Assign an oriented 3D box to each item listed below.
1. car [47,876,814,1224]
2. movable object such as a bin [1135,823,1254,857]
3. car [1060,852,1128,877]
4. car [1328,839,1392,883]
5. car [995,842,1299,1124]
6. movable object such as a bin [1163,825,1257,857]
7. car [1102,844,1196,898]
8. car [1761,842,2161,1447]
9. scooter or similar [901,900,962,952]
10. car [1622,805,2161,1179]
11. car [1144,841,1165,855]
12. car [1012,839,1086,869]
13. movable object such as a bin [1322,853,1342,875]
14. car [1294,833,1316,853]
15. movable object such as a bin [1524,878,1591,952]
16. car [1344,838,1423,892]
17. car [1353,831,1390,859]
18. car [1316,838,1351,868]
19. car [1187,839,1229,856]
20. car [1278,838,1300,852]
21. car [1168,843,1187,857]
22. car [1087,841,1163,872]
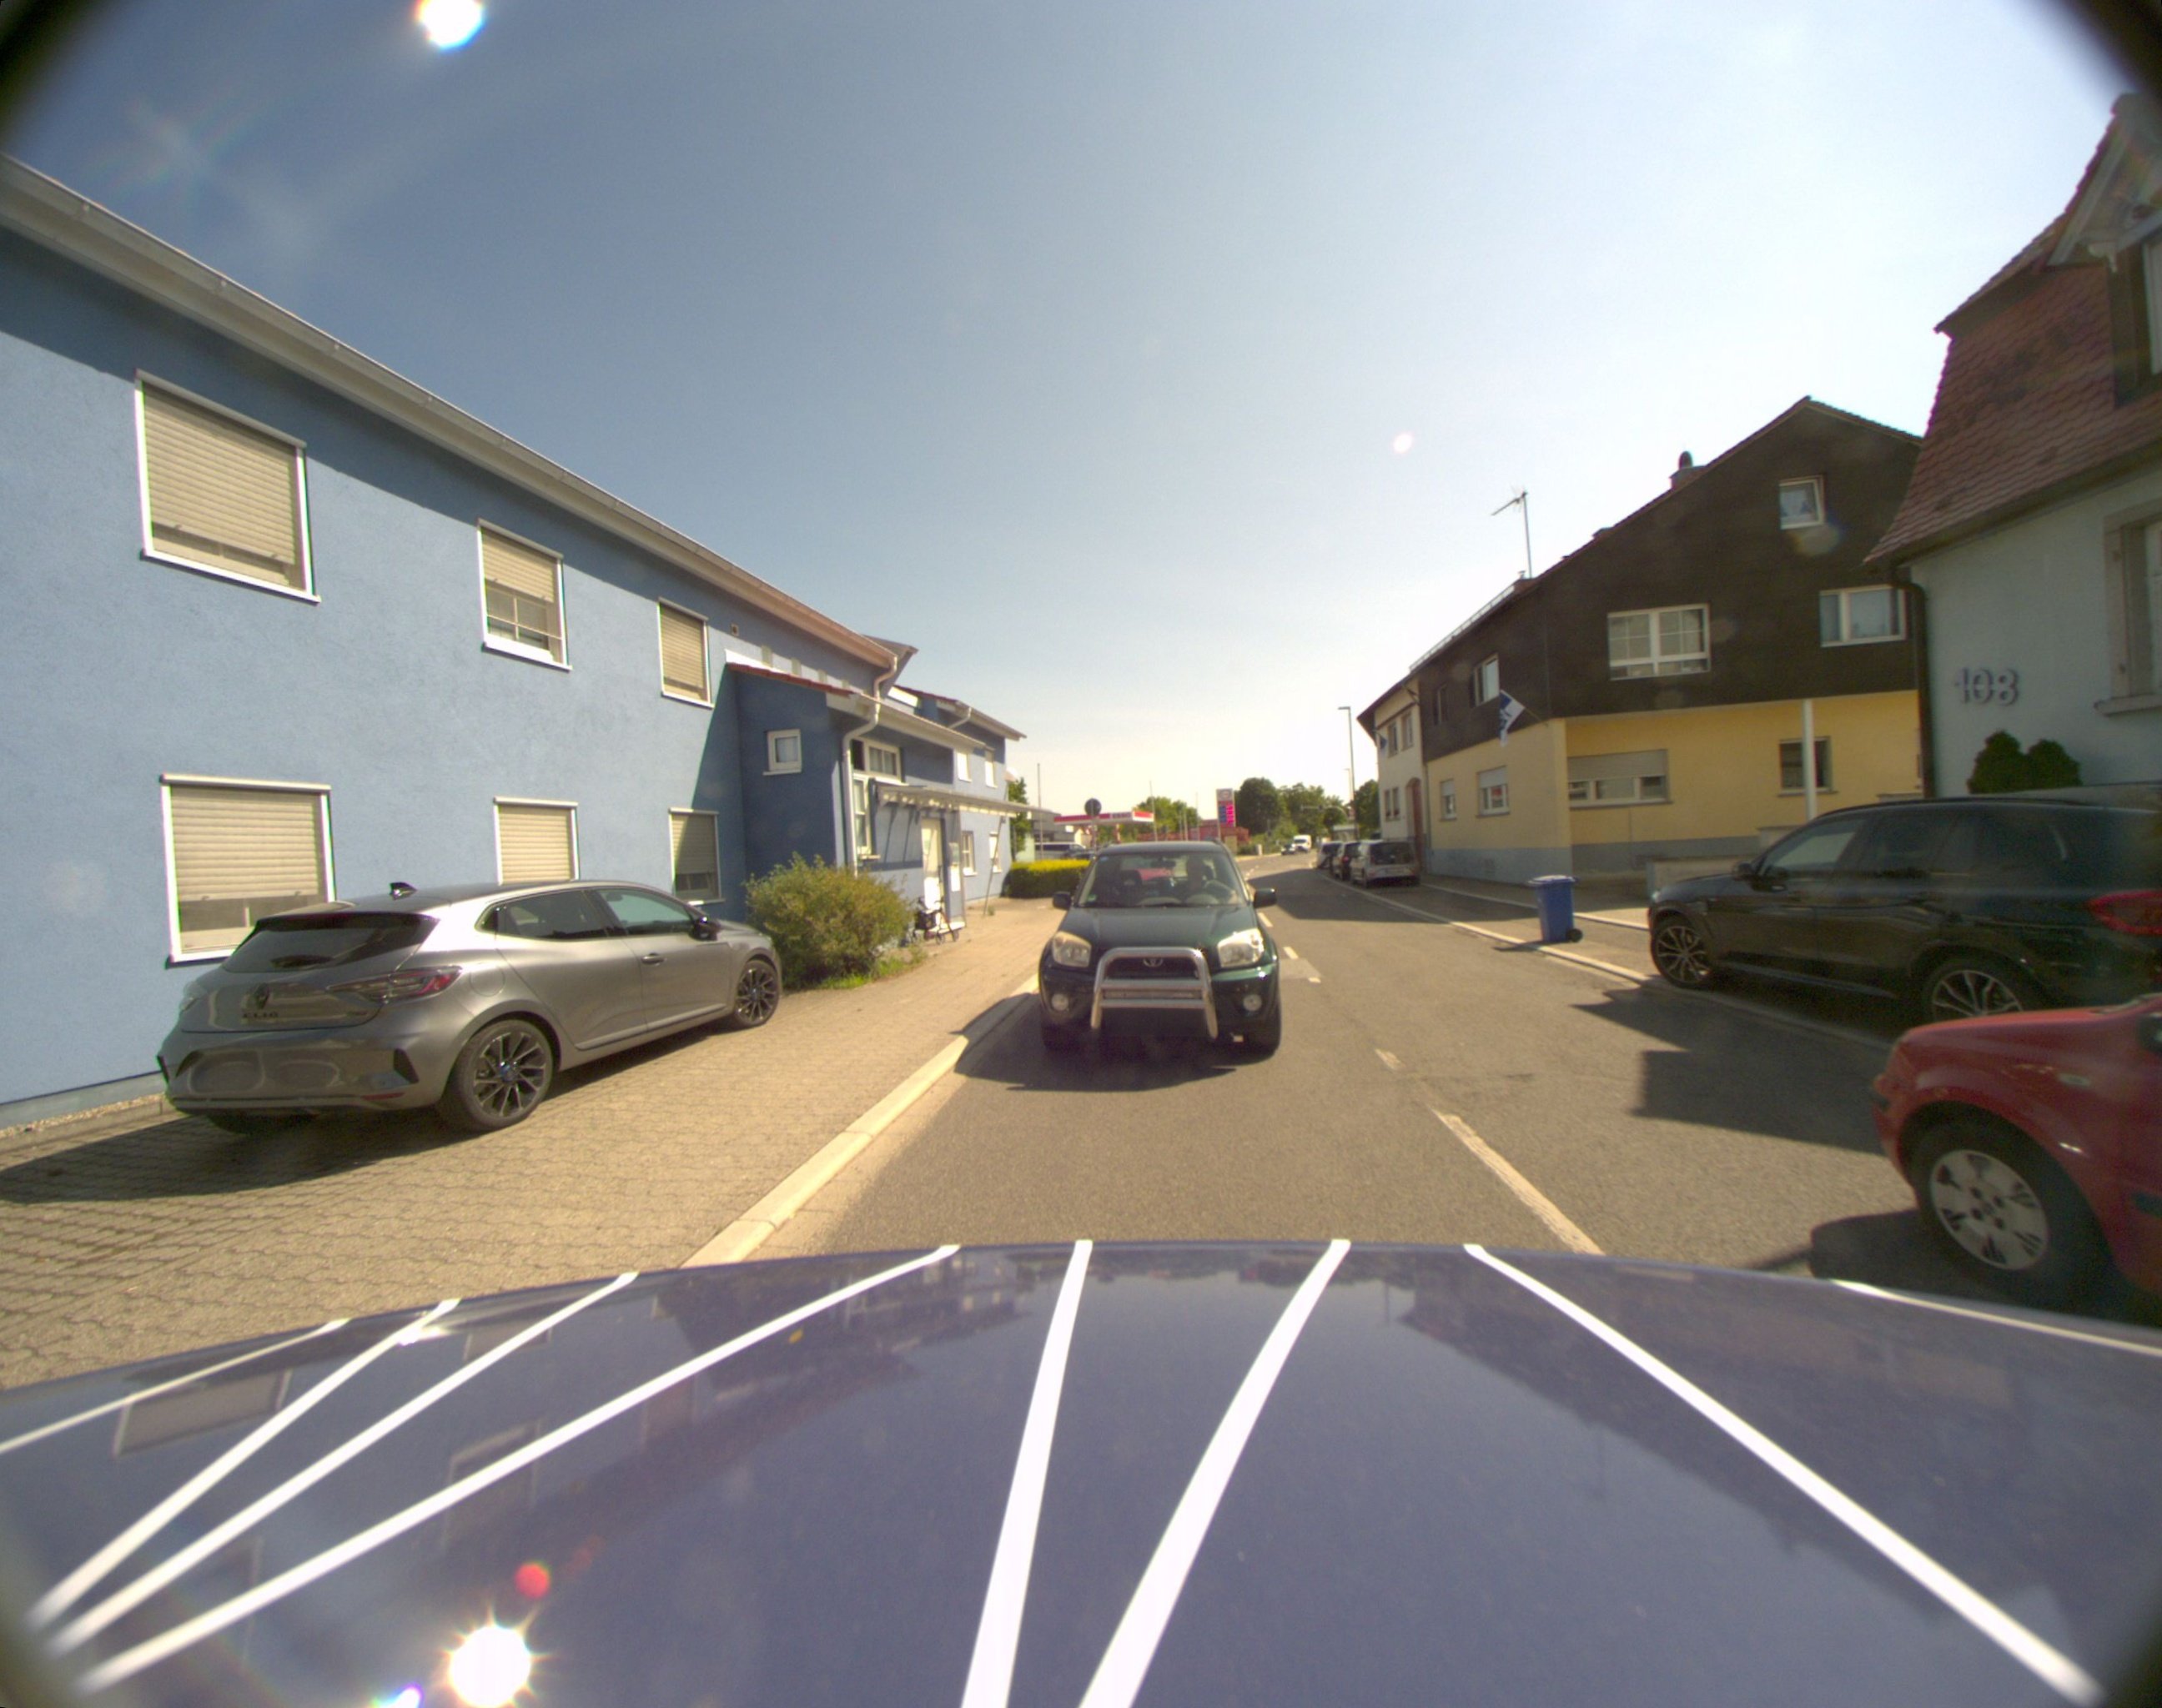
[{"bbox_3d":[-3.905,1.013,5.688,1.693,1.412,4.148,-3,1,10],"label":"car"},{"bbox_3d":[15.698,-1.916,105.763,16.070,3.995,2.777,-2,1,20],"label":"movable object such as a bin"},{"bbox_3d":[0.916,0.709,53.344,4.320,1.542,1.981,-2,1,-16],"label":"car"},{"bbox_3d":[10.794,0.210,29.668,1.681,1.429,3.998,-6,0,12],"label":"car"},{"bbox_3d":[0.808,0.801,6.885,1.847,1.686,4.402,-2,0,11],"label":"car"},{"bbox_3d":[19.146,-1.904,112.969,13.268,4.141,2.866,-2,1,20],"label":"movable object such as a bin"},{"bbox_3d":[2.214,0.614,23.492,1.734,1.485,4.364,-1,-4,21],"label":"car"},{"bbox_3d":[3.499,0.756,1.292,1.604,1.481,3.627,-4,0,6],"label":"car"},{"bbox_3d":[-2.608,1.250,13.340,0.729,0.810,0.828,-2,1,14],"label":"scooter or similar"},{"bbox_3d":[6.277,0.580,5.446,1.924,1.658,4.667,-5,0,9],"label":"car"},{"bbox_3d":[9.388,-0.792,97.196,2.001,1.583,4.342,-2,1,14],"label":"car"},{"bbox_3d":[-2.440,0.012,56.292,5.285,2.002,2.230,-2,1,-6],"label":"car"},{"bbox_3d":[11.066,0.439,33.494,0.552,0.923,0.826,-7,0,6],"label":"movable object such as a bin"},{"bbox_3d":[31.440,-1.569,106.598,1.935,2.488,5.847,-2,1,27],"label":"car"},{"bbox_3d":[6.778,0.854,10.820,0.597,0.976,0.531,-4,1,8],"label":"movable object such as a bin"},{"bbox_3d":[9.794,0.298,24.864,1.643,1.492,3.784,-5,0,12],"label":"car"},{"bbox_3d":[21.053,-0.670,54.970,1.838,1.782,4.350,-5,-1,29],"label":"car"},{"bbox_3d":[13.898,-0.078,42.024,1.686,1.453,3.653,-3,1,17],"label":"car"},{"bbox_3d":[12.565,-0.628,75.212,1.777,1.546,4.172,-3,1,-31],"label":"car"},{"bbox_3d":[26.030,-1.105,94.911,1.842,1.583,4.112,-2,1,27],"label":"car"},{"bbox_3d":[12.228,-0.521,96.377,1.844,1.583,4.109,-2,1,14],"label":"car"},{"bbox_3d":[2.622,0.128,45.634,4.116,1.644,1.828,-2,1,-17],"label":"car"}]
